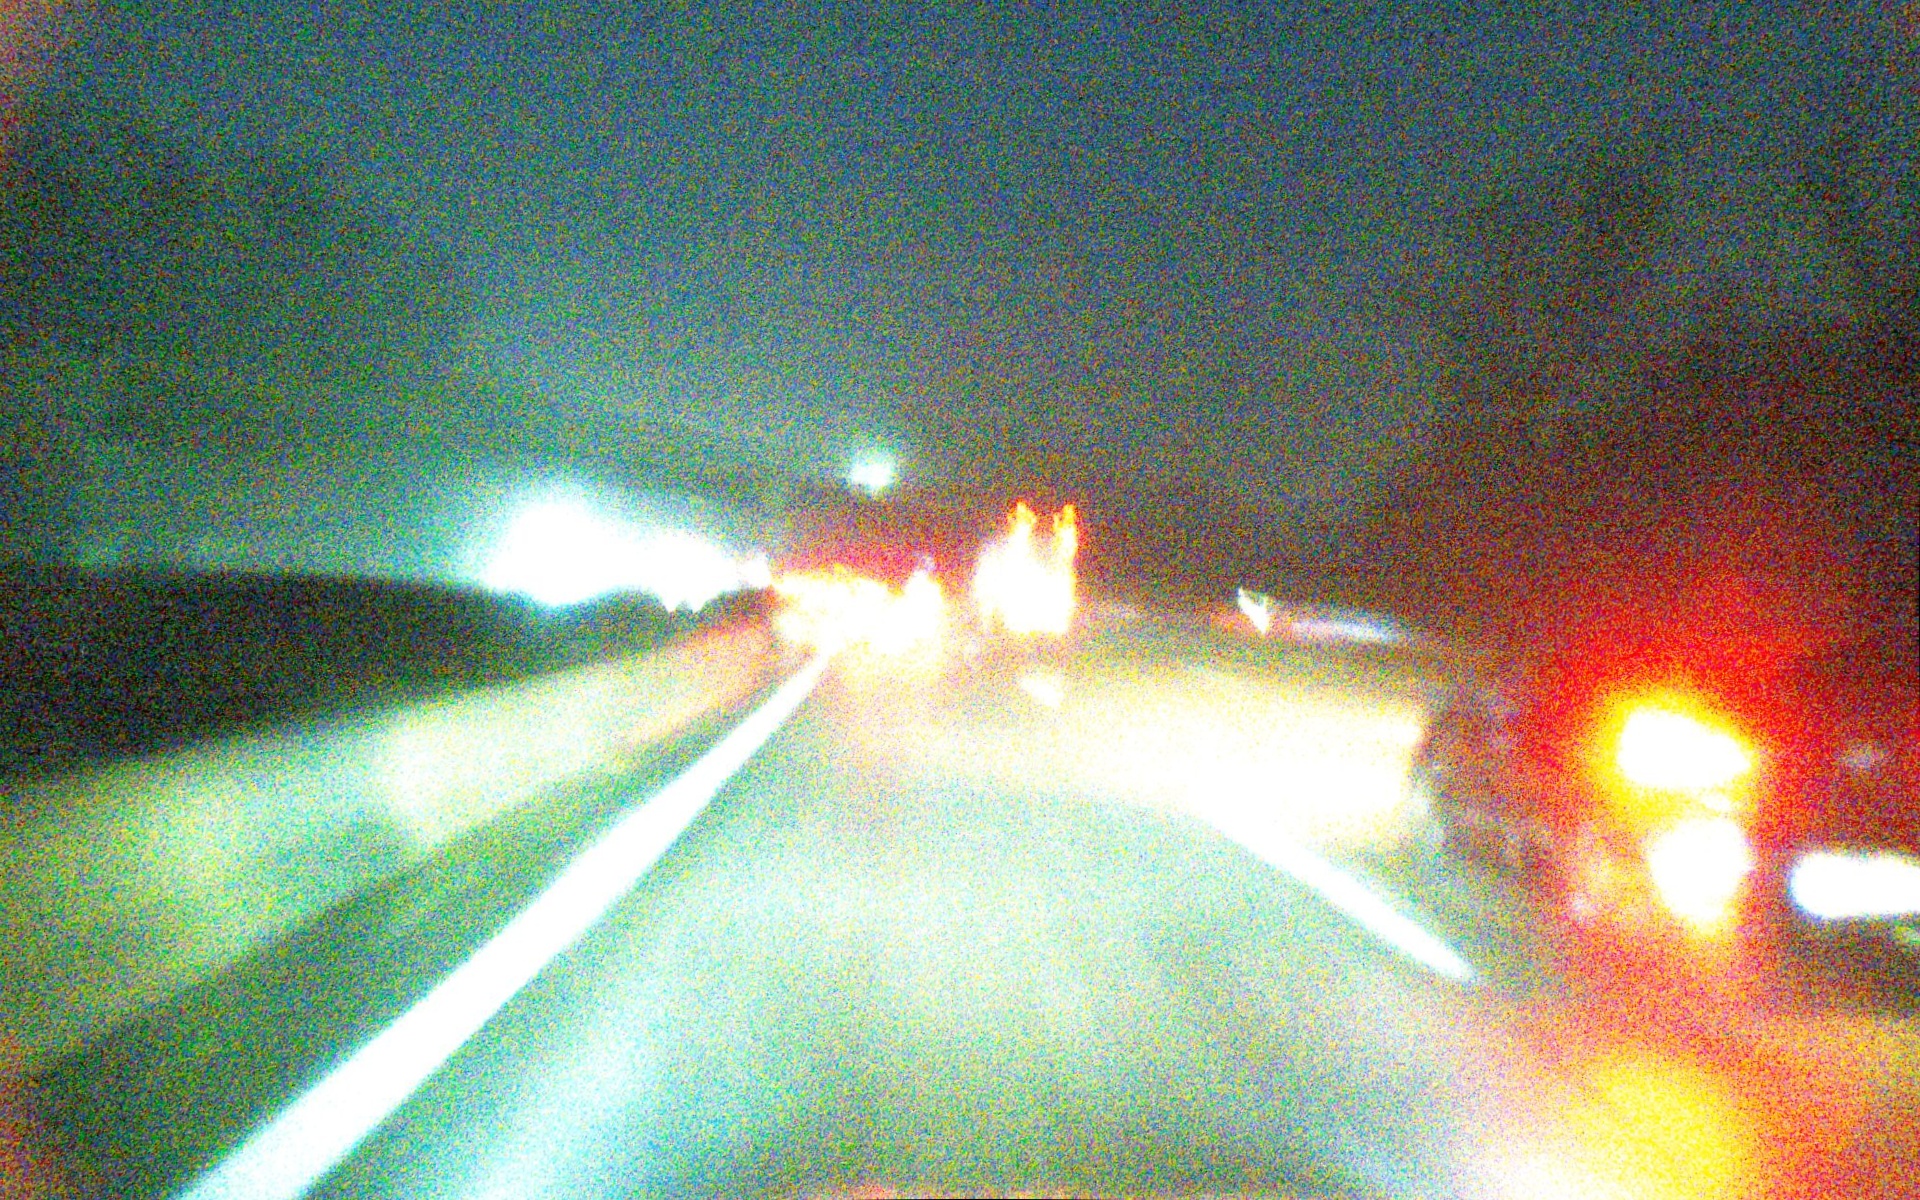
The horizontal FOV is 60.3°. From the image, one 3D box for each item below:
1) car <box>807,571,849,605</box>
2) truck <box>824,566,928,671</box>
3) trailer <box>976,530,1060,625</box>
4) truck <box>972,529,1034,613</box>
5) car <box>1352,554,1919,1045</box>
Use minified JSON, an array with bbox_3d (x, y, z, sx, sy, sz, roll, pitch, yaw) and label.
[{"bbox_3d":[-8.333,-0.751,104.123,1.960,2.049,3.985,0,0,-14],"label":"car"},{"bbox_3d":[-1.929,0.347,40.087,2.102,2.112,6.603,5,1,-1],"label":"truck"},{"bbox_3d":[2.745,-1.257,82.622,2.685,4.321,13.362,-1,2,-4],"label":"trailer"},{"bbox_3d":[2.275,-1.568,89.111,2.657,4.315,5.288,1,1,-5],"label":"truck"},{"bbox_3d":[3.377,0.663,7.743,1.765,1.645,4.253,1,1,-4],"label":"car"}]
